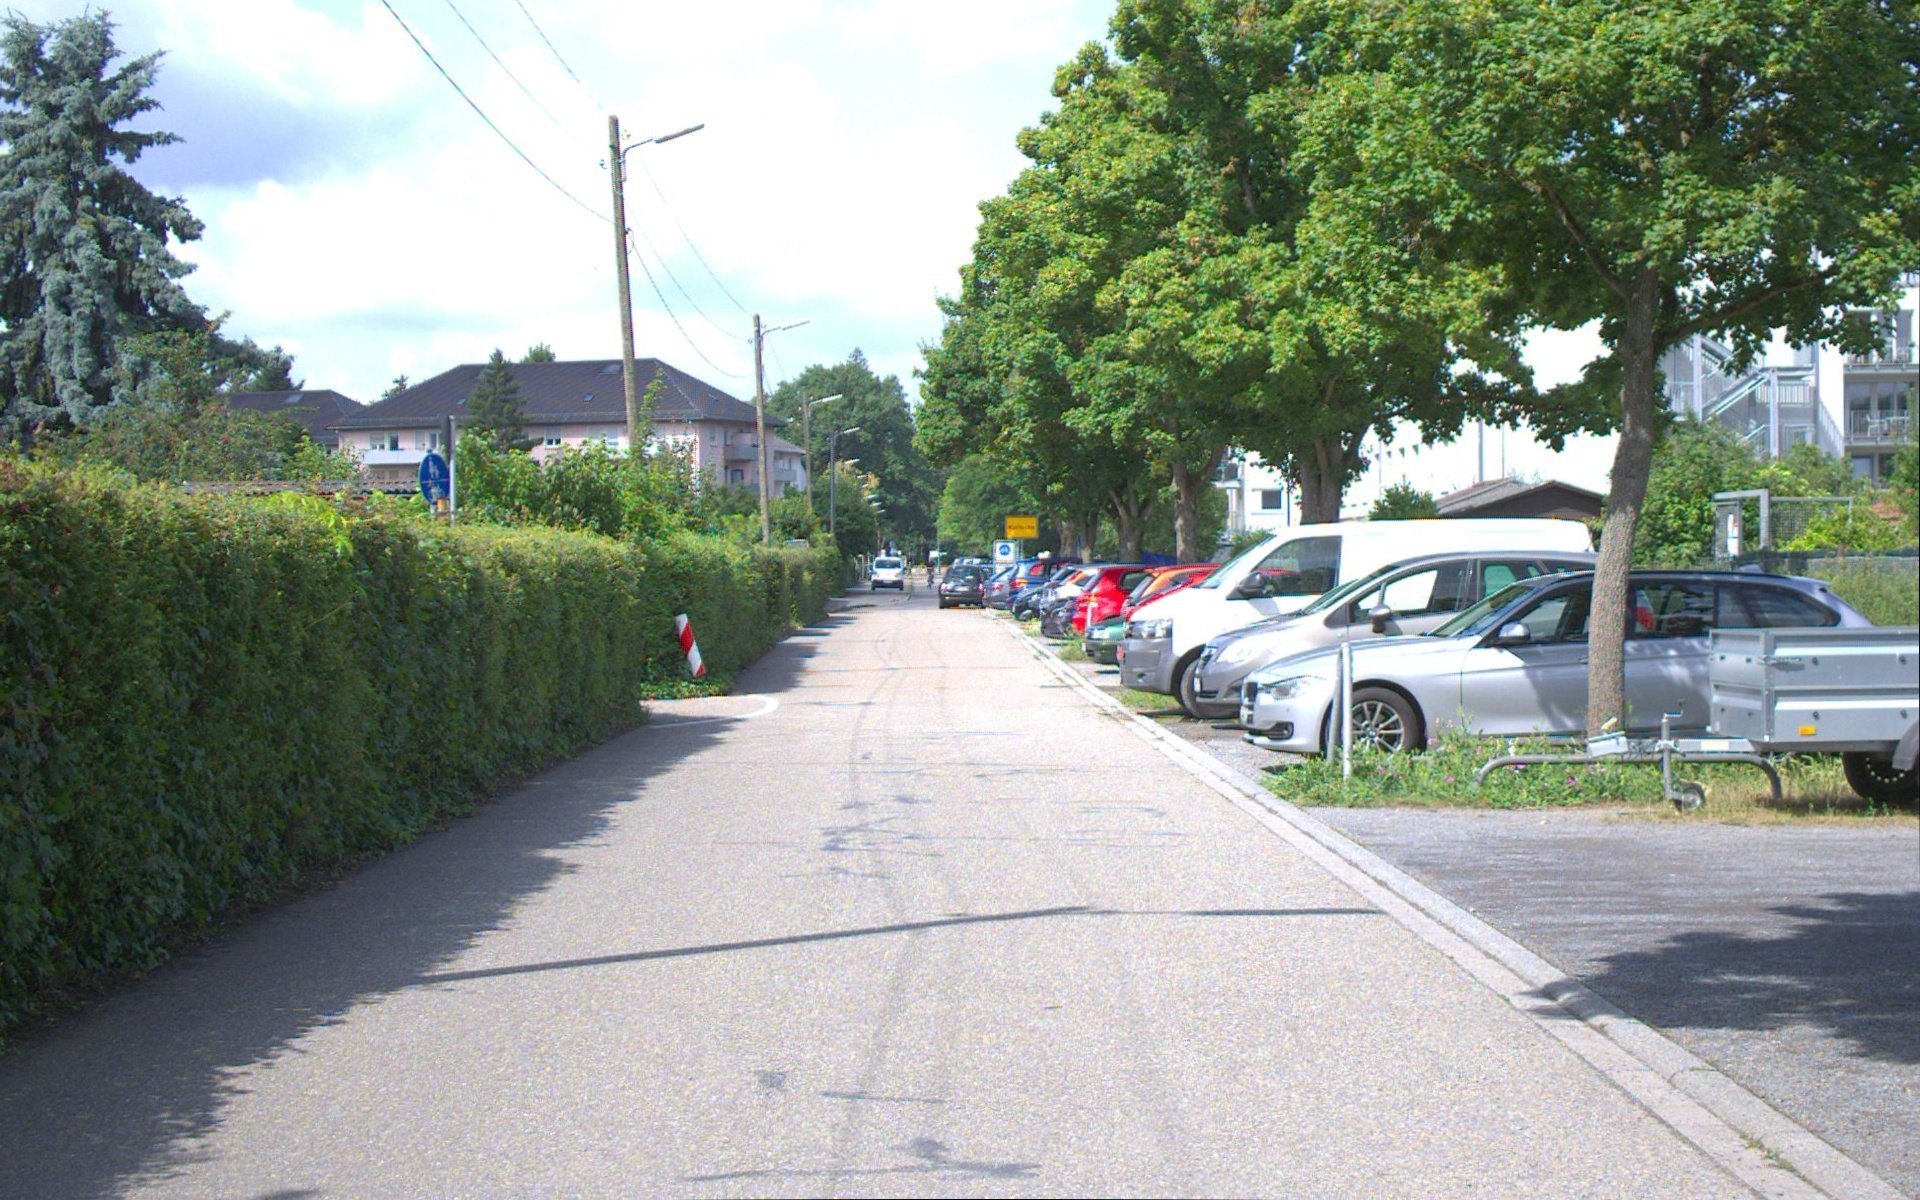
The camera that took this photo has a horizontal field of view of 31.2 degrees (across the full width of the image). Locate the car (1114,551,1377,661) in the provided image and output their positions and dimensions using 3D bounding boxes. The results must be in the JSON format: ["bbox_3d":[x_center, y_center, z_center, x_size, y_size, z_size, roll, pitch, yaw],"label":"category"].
[{"bbox_3d":[4.275,0.083,51.928,3.764,1.568,1.870,1,0,-1],"label":"car"}]

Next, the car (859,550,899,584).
[{"bbox_3d":[-4.419,-1.789,187.252,1.903,1.808,4.000,1,0,2],"label":"car"}]

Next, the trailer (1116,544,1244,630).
[{"bbox_3d":[4.545,-0.282,71.211,2.449,1.714,1.518,1,1,-4],"label":"trailer"}]

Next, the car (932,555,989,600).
[{"bbox_3d":[0.044,-0.756,118.637,1.663,1.501,3.999,1,0,4],"label":"car"}]

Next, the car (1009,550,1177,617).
[{"bbox_3d":[3.350,-0.419,87.273,4.154,1.632,1.879,-1,0,0],"label":"car"}]

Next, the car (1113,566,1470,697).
[{"bbox_3d":[4.012,0.373,42.095,4.183,1.499,1.878,1,0,1],"label":"car"}]

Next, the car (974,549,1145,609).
[{"bbox_3d":[2.693,-0.572,93.912,4.548,1.573,1.809,1,0,-1],"label":"car"}]

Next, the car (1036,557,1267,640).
[{"bbox_3d":[3.509,-0.038,63.409,4.065,1.450,1.870,1,0,-3],"label":"car"}]

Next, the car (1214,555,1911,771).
[{"bbox_3d":[4.231,0.418,24.631,4.577,1.461,2.000,0,1,-4],"label":"car"}]

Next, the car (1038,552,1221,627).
[{"bbox_3d":[3.634,-0.233,74.097,3.723,1.535,1.850,1,0,-3],"label":"car"}]

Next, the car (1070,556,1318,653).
[{"bbox_3d":[3.845,0.065,56.728,3.987,1.514,1.854,1,0,3],"label":"car"}]

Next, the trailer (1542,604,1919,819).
[{"bbox_3d":[5.102,0.625,19.901,3.100,1.138,2.000,1,0,0],"label":"trailer"}]

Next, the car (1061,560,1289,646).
[{"bbox_3d":[3.750,0.051,60.243,3.910,1.419,1.957,1,0,3],"label":"car"}]

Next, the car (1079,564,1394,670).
[{"bbox_3d":[3.917,0.234,49.204,4.238,1.423,1.908,1,0,-4],"label":"car"}]

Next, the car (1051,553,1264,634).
[{"bbox_3d":[3.827,-0.130,67.016,4.065,1.506,1.957,1,0,3],"label":"car"}]

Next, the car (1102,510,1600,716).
[{"bbox_3d":[3.834,0.111,34.328,4.634,1.880,2.112,-1,1,-2],"label":"car"}]

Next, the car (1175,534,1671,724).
[{"bbox_3d":[4.181,0.246,31.586,4.243,1.587,2.000,-1,1,0],"label":"car"}]

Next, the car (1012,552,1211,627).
[{"bbox_3d":[3.351,-0.243,76.680,4.302,1.588,2.000,1,0,-1],"label":"car"}]
